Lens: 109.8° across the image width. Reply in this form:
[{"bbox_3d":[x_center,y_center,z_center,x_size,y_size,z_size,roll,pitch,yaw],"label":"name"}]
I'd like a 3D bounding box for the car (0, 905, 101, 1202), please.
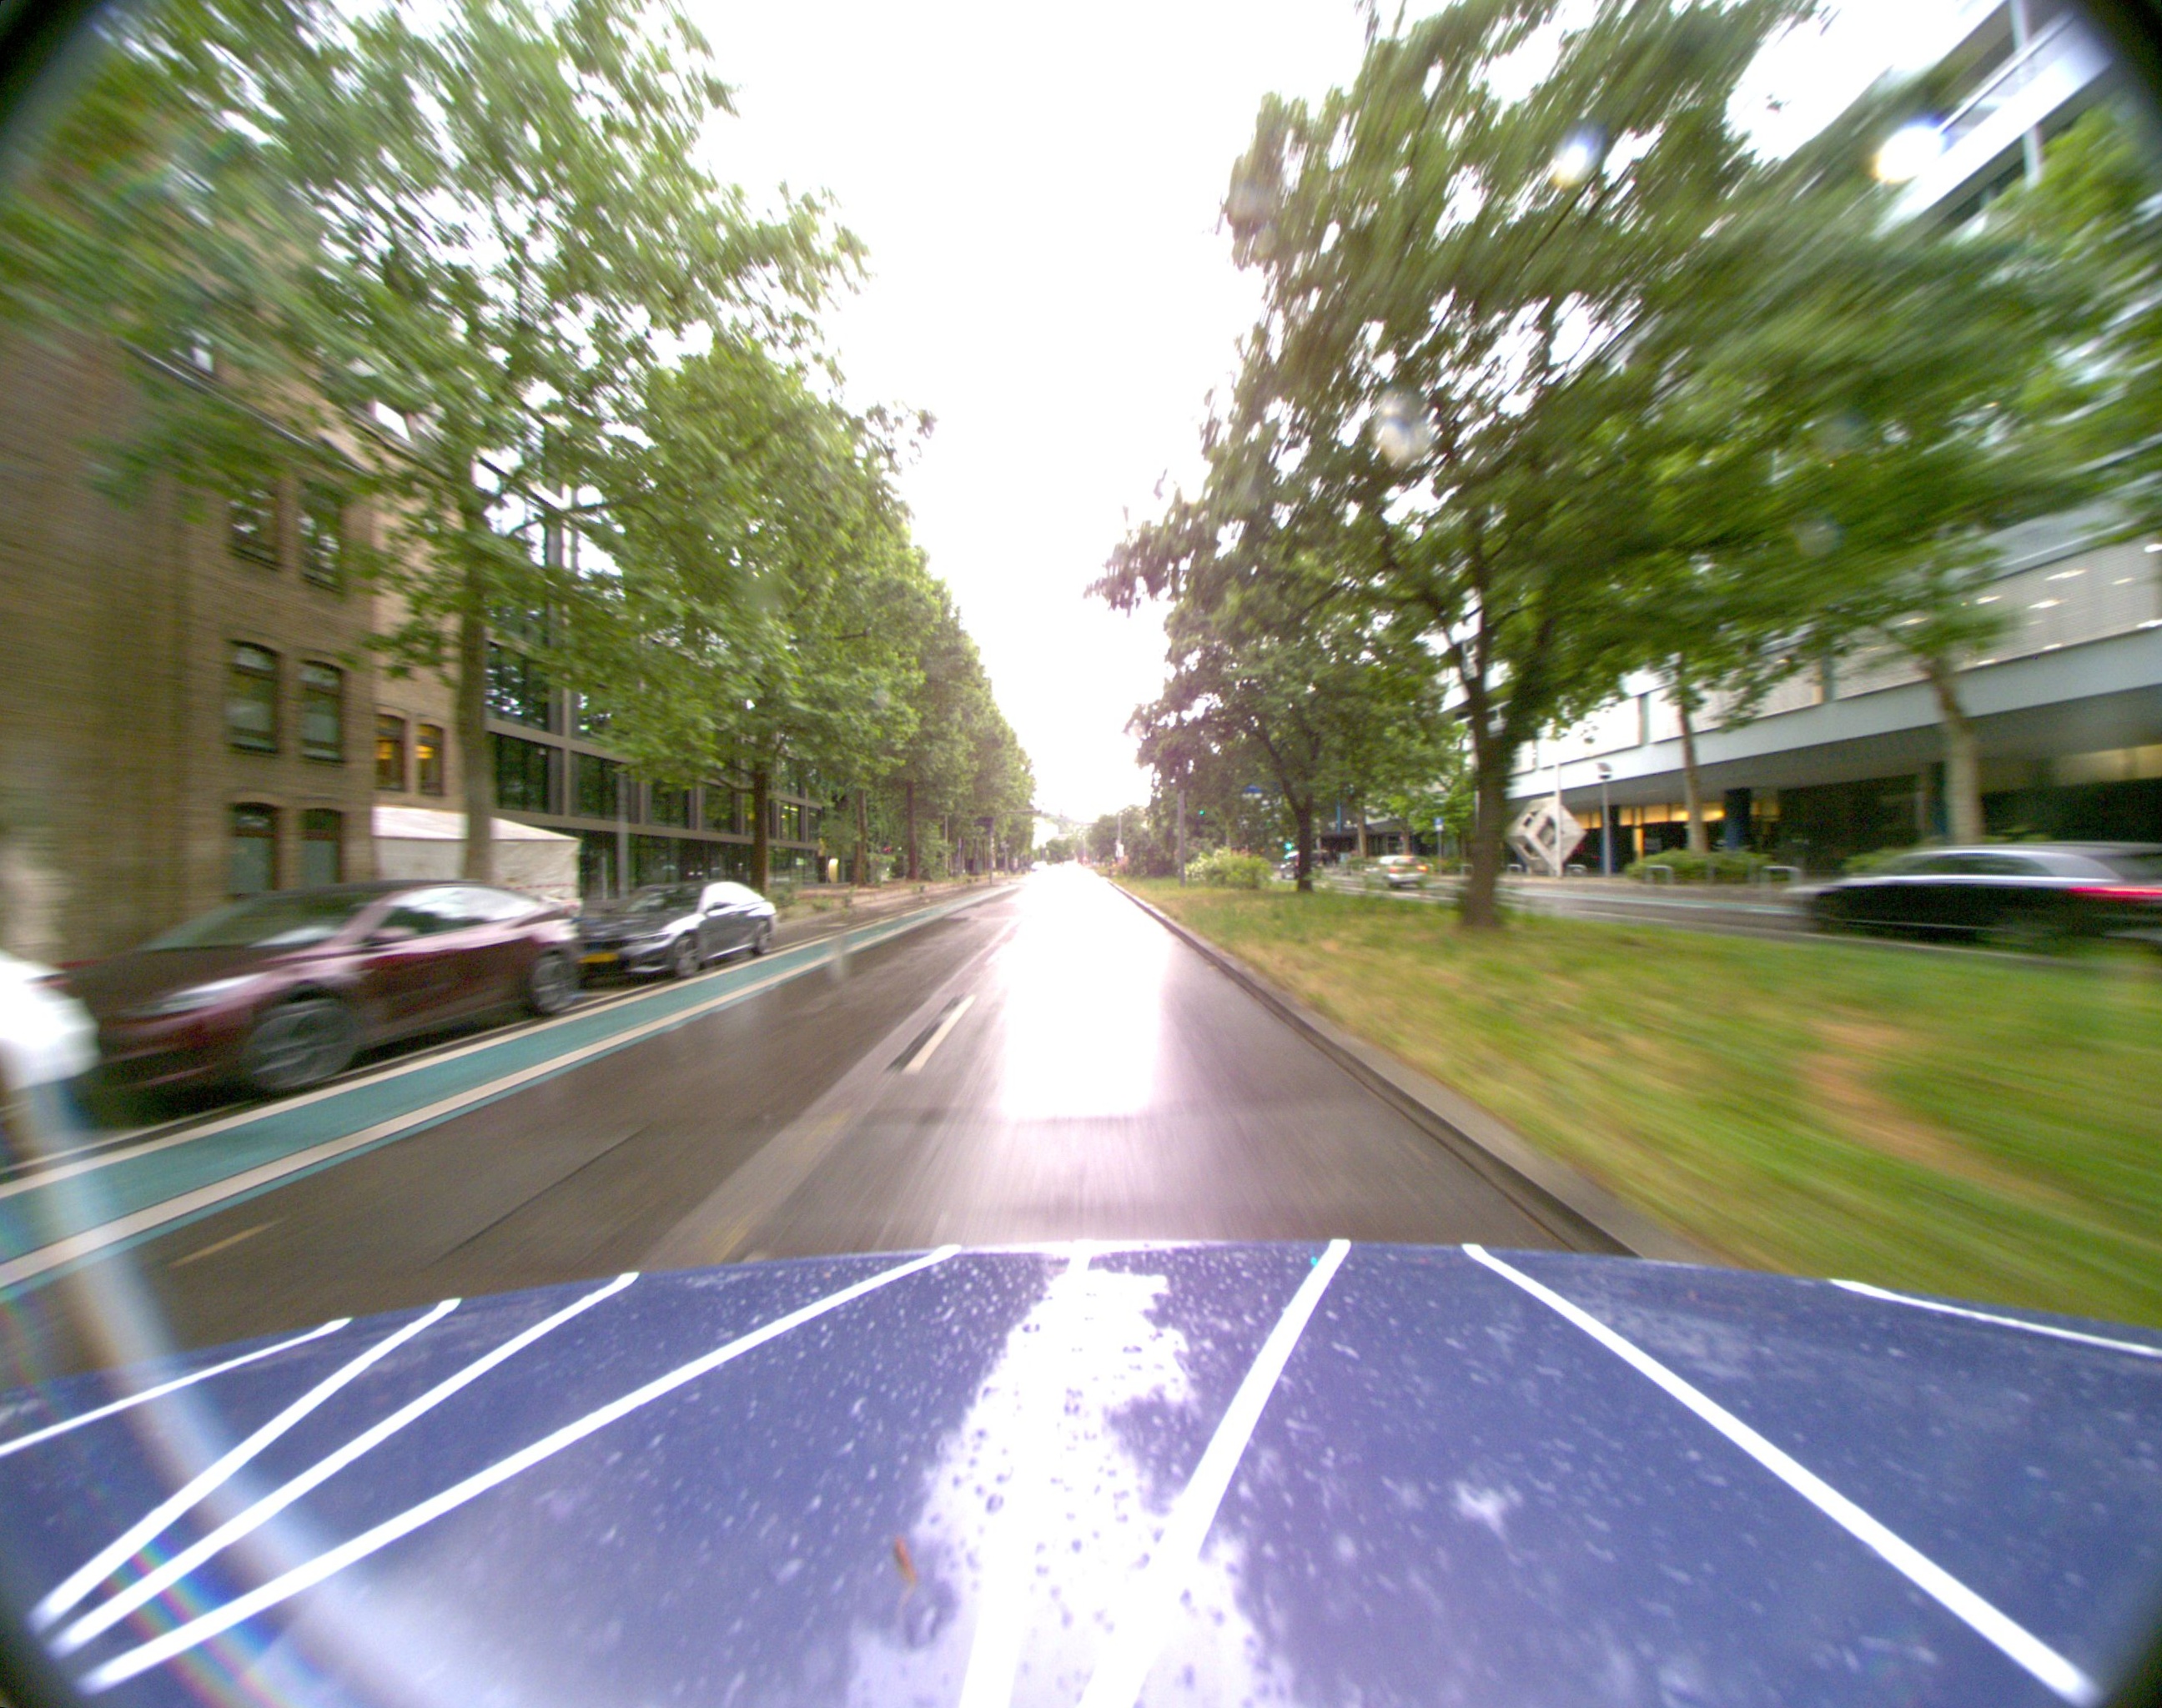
[{"bbox_3d":[-6.590,1.099,2.262,1.756,1.576,4.409,-2,0,-4],"label":"car"}]

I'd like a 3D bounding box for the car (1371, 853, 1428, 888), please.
[{"bbox_3d":[14.093,0.717,33.823,1.163,1.454,3.561,-1,0,2],"label":"car"}]

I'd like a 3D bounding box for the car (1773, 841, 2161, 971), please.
[{"bbox_3d":[13.603,0.642,11.502,1.998,1.483,4.757,-4,-1,3],"label":"car"}]

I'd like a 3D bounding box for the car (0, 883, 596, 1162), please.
[{"bbox_3d":[-6.910,1.168,7.063,1.999,1.580,4.559,-2,0,-3],"label":"car"}]

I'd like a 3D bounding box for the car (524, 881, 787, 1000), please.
[{"bbox_3d":[-6.738,1.270,12.742,1.747,1.424,4.586,-2,0,1],"label":"car"}]

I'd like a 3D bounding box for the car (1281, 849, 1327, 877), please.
[{"bbox_3d":[14.813,0.583,50.639,1.998,1.791,4.283,-1,0,4],"label":"car"}]
